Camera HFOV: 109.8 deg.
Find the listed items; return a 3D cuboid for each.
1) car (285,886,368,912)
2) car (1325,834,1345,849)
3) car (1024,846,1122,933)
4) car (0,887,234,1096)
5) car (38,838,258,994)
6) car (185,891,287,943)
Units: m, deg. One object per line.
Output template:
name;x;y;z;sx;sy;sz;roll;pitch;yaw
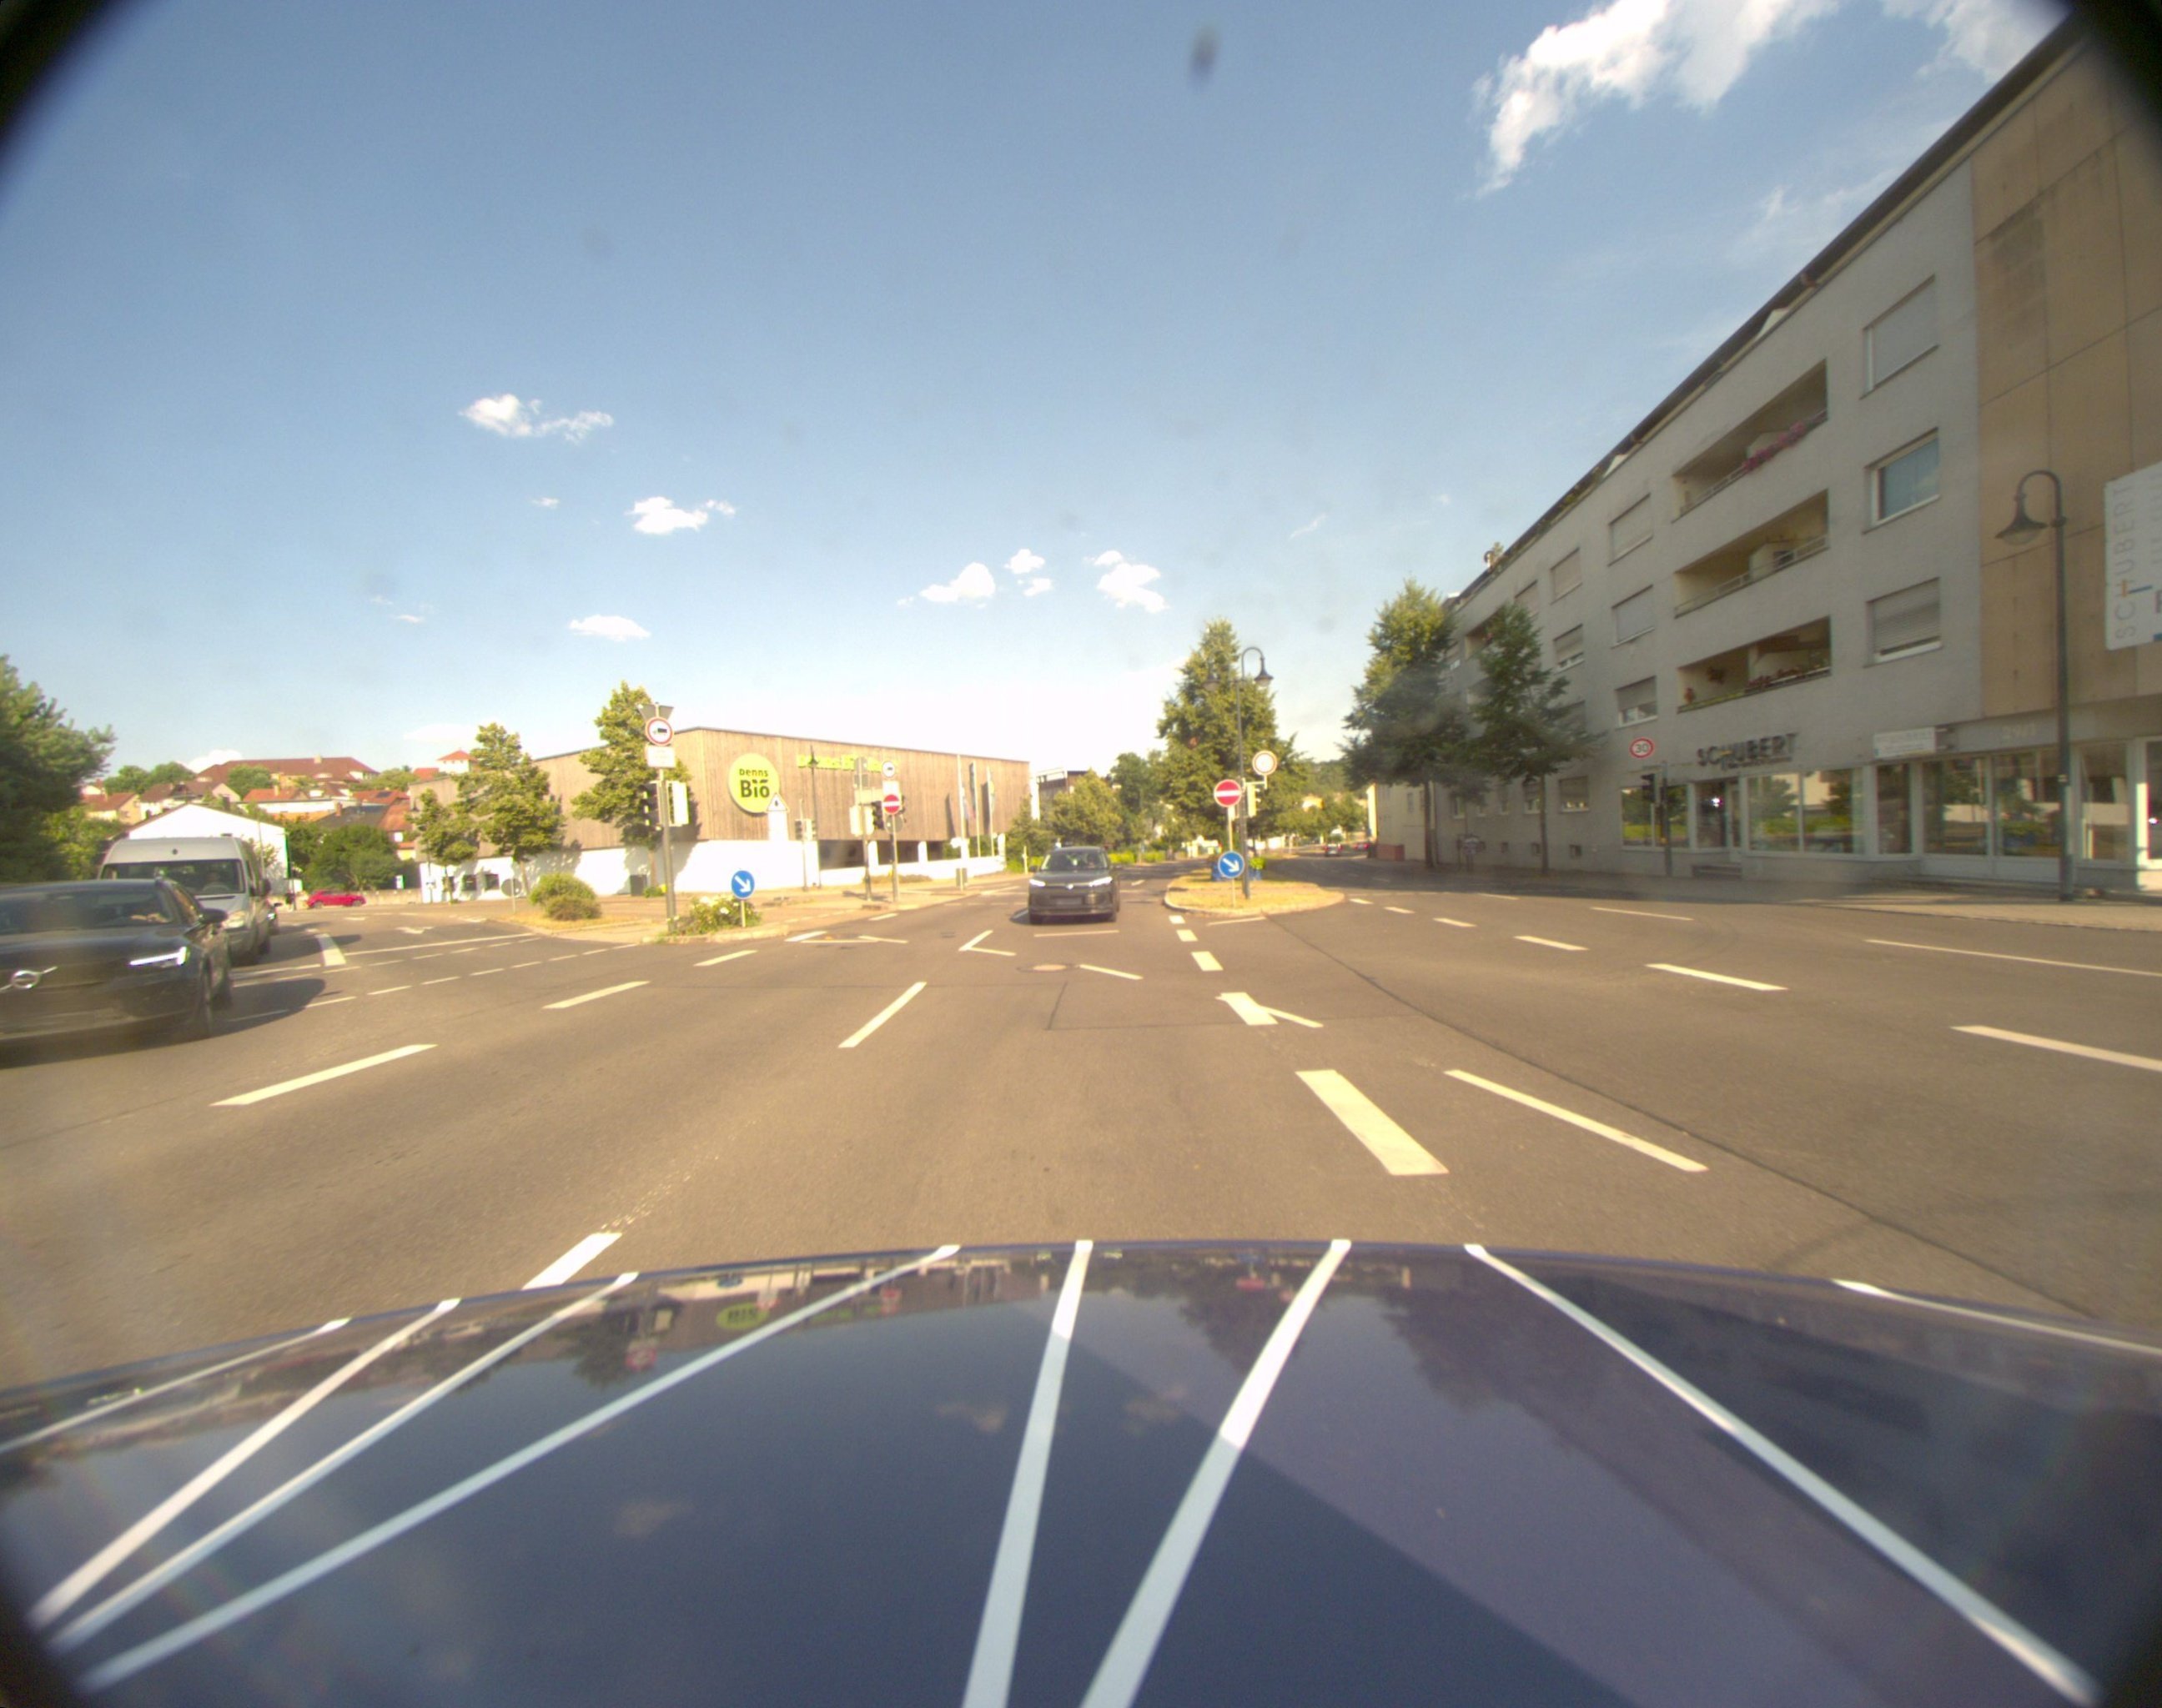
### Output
car;-60.875;3.621;61.383;1.890;1.713;4.323;-2;1;29
car;30.338;-1.477;90.714;1.854;1.726;4.929;-1;1;22
car;-0.053;0.682;17.125;1.724;1.605;4.262;-2;1;5
car;-10.066;1.186;7.588;1.796;1.558;4.259;-3;1;-44
car;-18.301;1.057;15.235;5.844;2.507;2.198;-1;1;44
car;-27.643;1.991;24.830;3.989;1.445;1.861;-2;1;37
